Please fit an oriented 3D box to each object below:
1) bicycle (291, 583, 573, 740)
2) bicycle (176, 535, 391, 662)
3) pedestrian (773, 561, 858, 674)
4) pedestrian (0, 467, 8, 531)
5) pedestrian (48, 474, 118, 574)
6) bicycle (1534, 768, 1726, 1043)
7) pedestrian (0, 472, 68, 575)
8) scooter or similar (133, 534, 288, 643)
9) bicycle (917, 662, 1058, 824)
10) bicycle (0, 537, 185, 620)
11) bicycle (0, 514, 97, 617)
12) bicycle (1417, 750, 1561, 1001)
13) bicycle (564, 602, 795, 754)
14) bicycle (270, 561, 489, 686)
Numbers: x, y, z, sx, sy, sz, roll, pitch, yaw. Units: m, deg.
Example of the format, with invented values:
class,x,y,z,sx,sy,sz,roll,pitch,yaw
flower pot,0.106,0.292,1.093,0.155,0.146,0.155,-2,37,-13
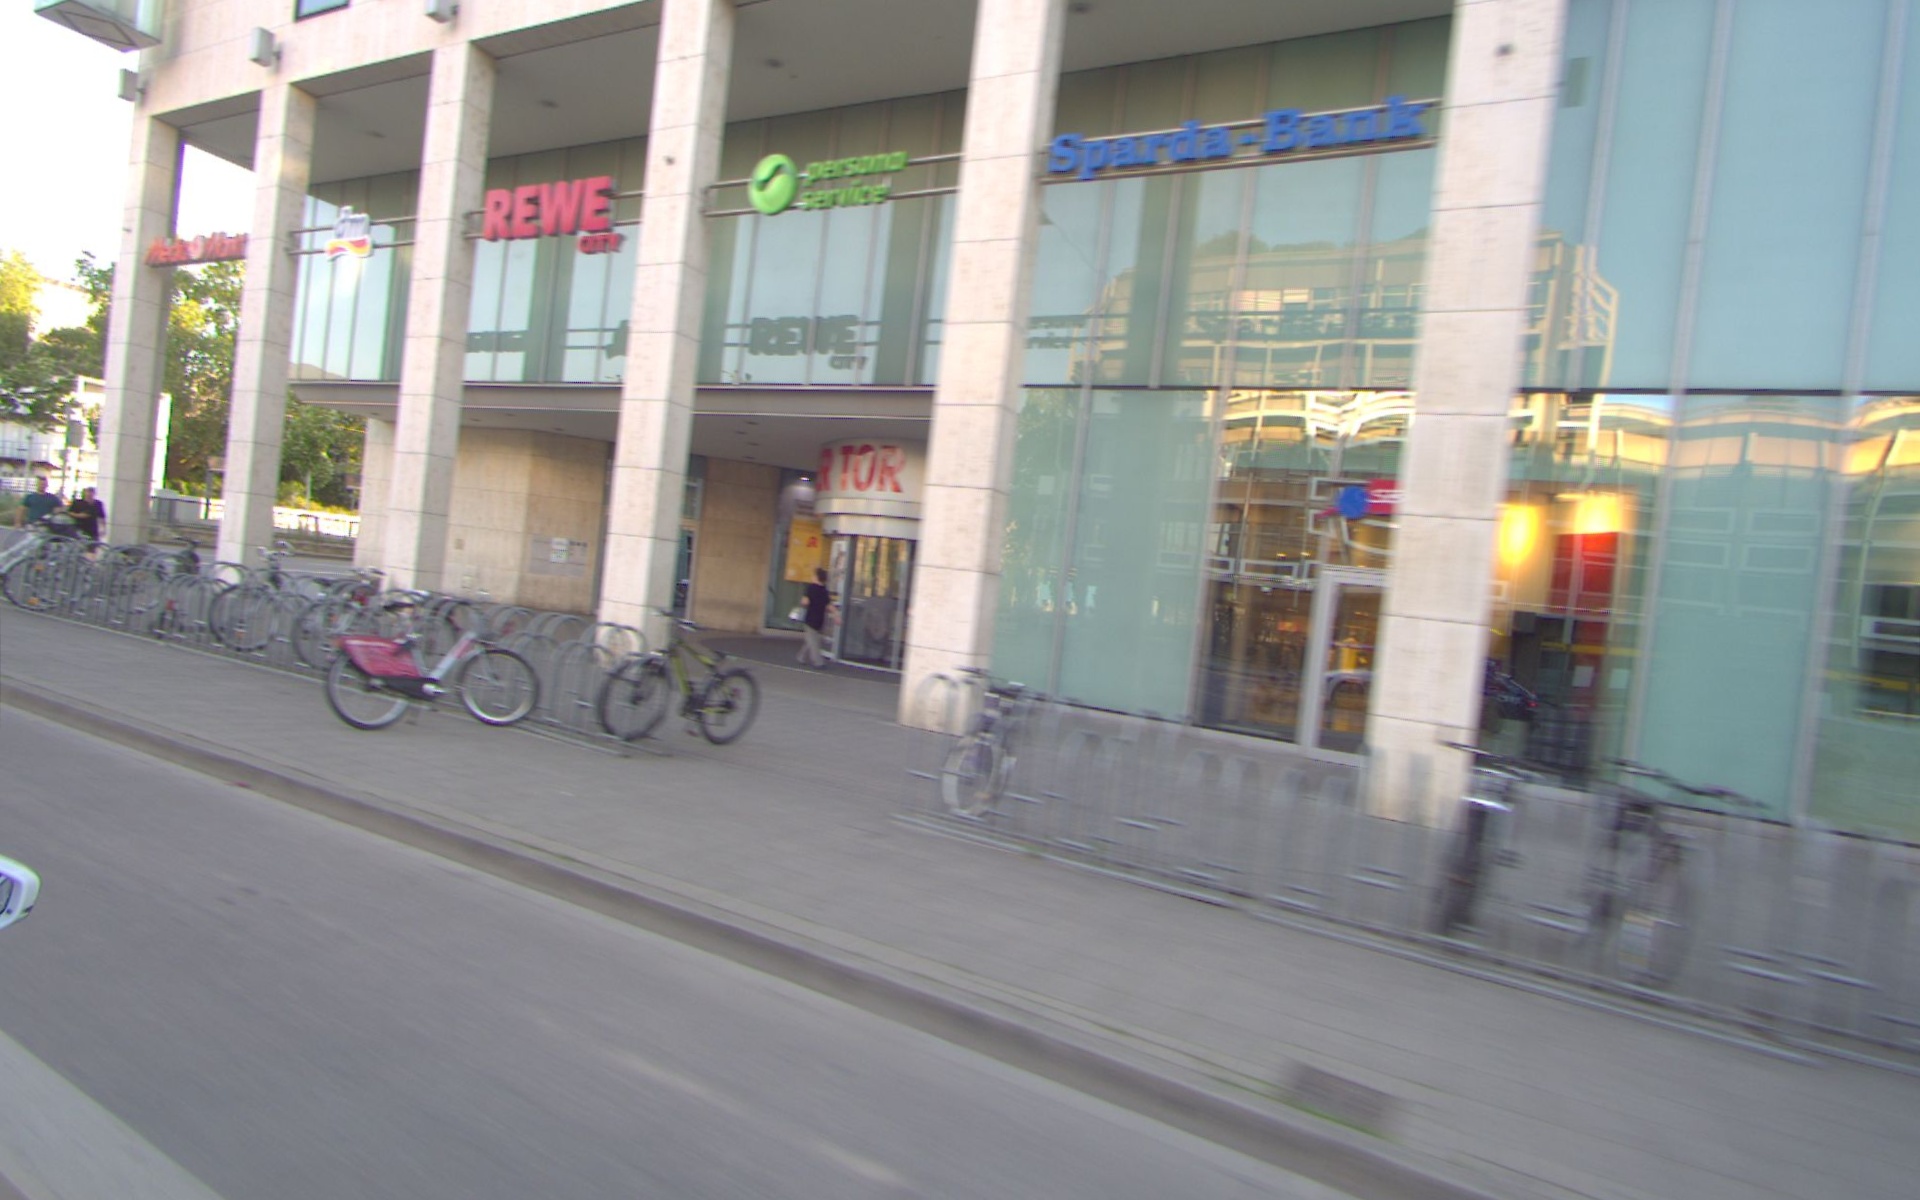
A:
class,x,y,z,sx,sy,sz,roll,pitch,yaw
bicycle,-4.136,0.492,8.048,0.561,1.061,1.900,7,1,32
bicycle,-7.636,0.016,11.458,0.662,1.276,1.870,7,1,26
pedestrian,-2.475,0.292,17.273,0.973,1.800,0.861,7,3,27
pedestrian,-28.249,-2.980,29.039,0.677,1.854,0.892,8,1,36
pedestrian,-16.704,-1.435,19.160,0.728,1.801,0.756,7,4,28
bicycle,3.466,1.496,5.339,0.507,0.948,1.811,7,0,26
pedestrian,-17.090,-1.399,18.438,0.728,1.801,0.861,7,4,28
scooter or similar,-9.147,-0.114,12.319,0.662,1.174,1.278,7,0,26
bicycle,0.271,1.067,8.014,0.589,1.036,1.708,7,0,17
bicycle,-11.673,-0.258,13.550,0.507,0.948,1.871,7,0,26
bicycle,-12.390,-0.485,12.957,0.563,1.228,1.813,8,1,43
bicycle,2.887,1.416,5.567,0.507,0.948,1.742,7,0,26
bicycle,-2.326,0.696,8.584,0.591,1.112,1.819,7,-2,35
bicycle,-6.091,0.294,10.684,0.561,1.126,1.875,7,-2,31
